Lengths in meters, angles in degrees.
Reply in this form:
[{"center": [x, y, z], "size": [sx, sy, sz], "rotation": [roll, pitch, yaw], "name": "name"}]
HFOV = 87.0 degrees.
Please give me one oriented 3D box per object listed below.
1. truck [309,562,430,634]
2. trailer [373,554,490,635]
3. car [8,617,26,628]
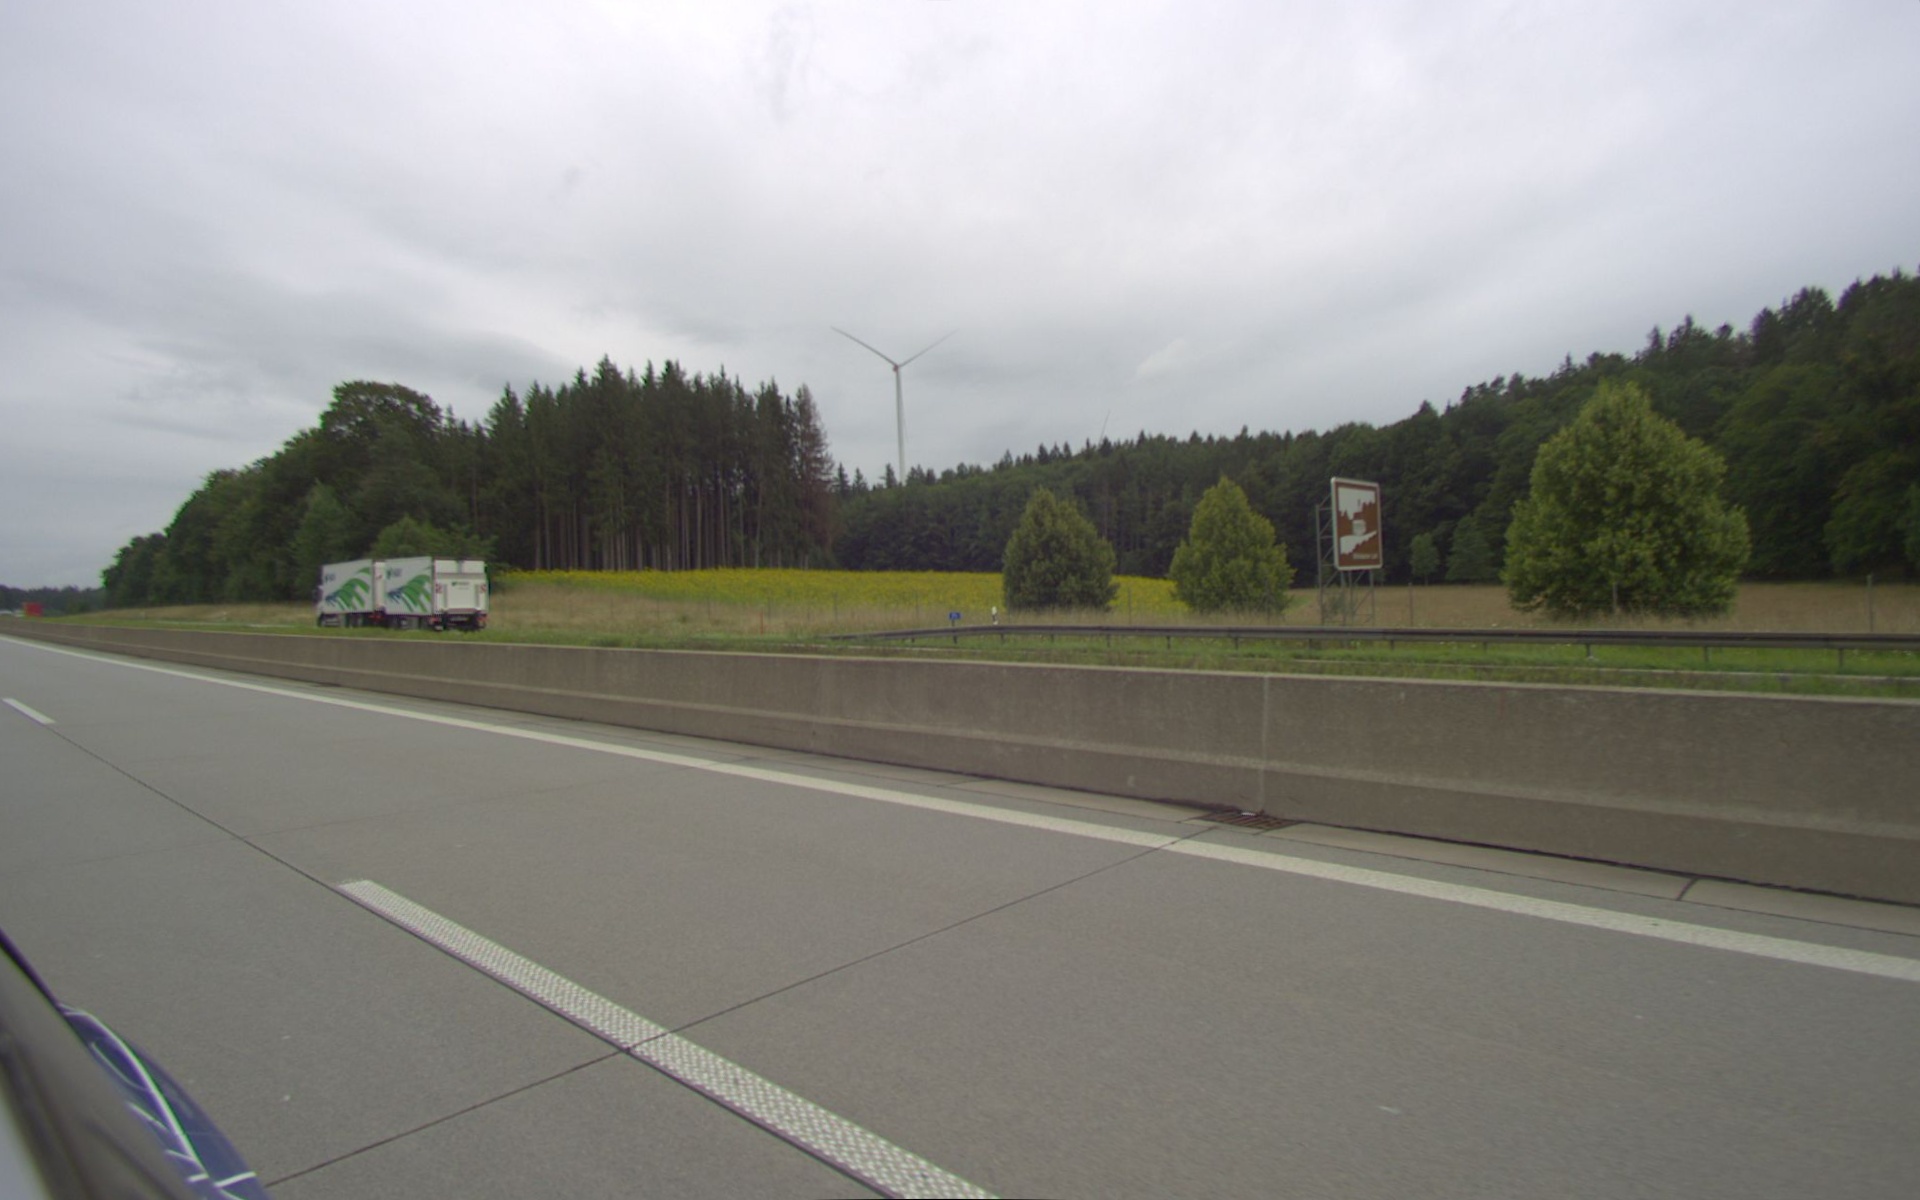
[{"center": [-33.986, -0.070, 57.975], "size": [11.351, 3.801, 2.782], "rotation": [-1, 0, 43], "name": "truck"}, {"center": [-26.947, -0.212, 51.427], "size": [7.715, 3.811, 2.788], "rotation": [-2, 0, 43], "name": "trailer"}, {"center": [-159.017, 3.830, 170.629], "size": [4.391, 1.813, 1.972], "rotation": [-1, 0, 43], "name": "car"}]
